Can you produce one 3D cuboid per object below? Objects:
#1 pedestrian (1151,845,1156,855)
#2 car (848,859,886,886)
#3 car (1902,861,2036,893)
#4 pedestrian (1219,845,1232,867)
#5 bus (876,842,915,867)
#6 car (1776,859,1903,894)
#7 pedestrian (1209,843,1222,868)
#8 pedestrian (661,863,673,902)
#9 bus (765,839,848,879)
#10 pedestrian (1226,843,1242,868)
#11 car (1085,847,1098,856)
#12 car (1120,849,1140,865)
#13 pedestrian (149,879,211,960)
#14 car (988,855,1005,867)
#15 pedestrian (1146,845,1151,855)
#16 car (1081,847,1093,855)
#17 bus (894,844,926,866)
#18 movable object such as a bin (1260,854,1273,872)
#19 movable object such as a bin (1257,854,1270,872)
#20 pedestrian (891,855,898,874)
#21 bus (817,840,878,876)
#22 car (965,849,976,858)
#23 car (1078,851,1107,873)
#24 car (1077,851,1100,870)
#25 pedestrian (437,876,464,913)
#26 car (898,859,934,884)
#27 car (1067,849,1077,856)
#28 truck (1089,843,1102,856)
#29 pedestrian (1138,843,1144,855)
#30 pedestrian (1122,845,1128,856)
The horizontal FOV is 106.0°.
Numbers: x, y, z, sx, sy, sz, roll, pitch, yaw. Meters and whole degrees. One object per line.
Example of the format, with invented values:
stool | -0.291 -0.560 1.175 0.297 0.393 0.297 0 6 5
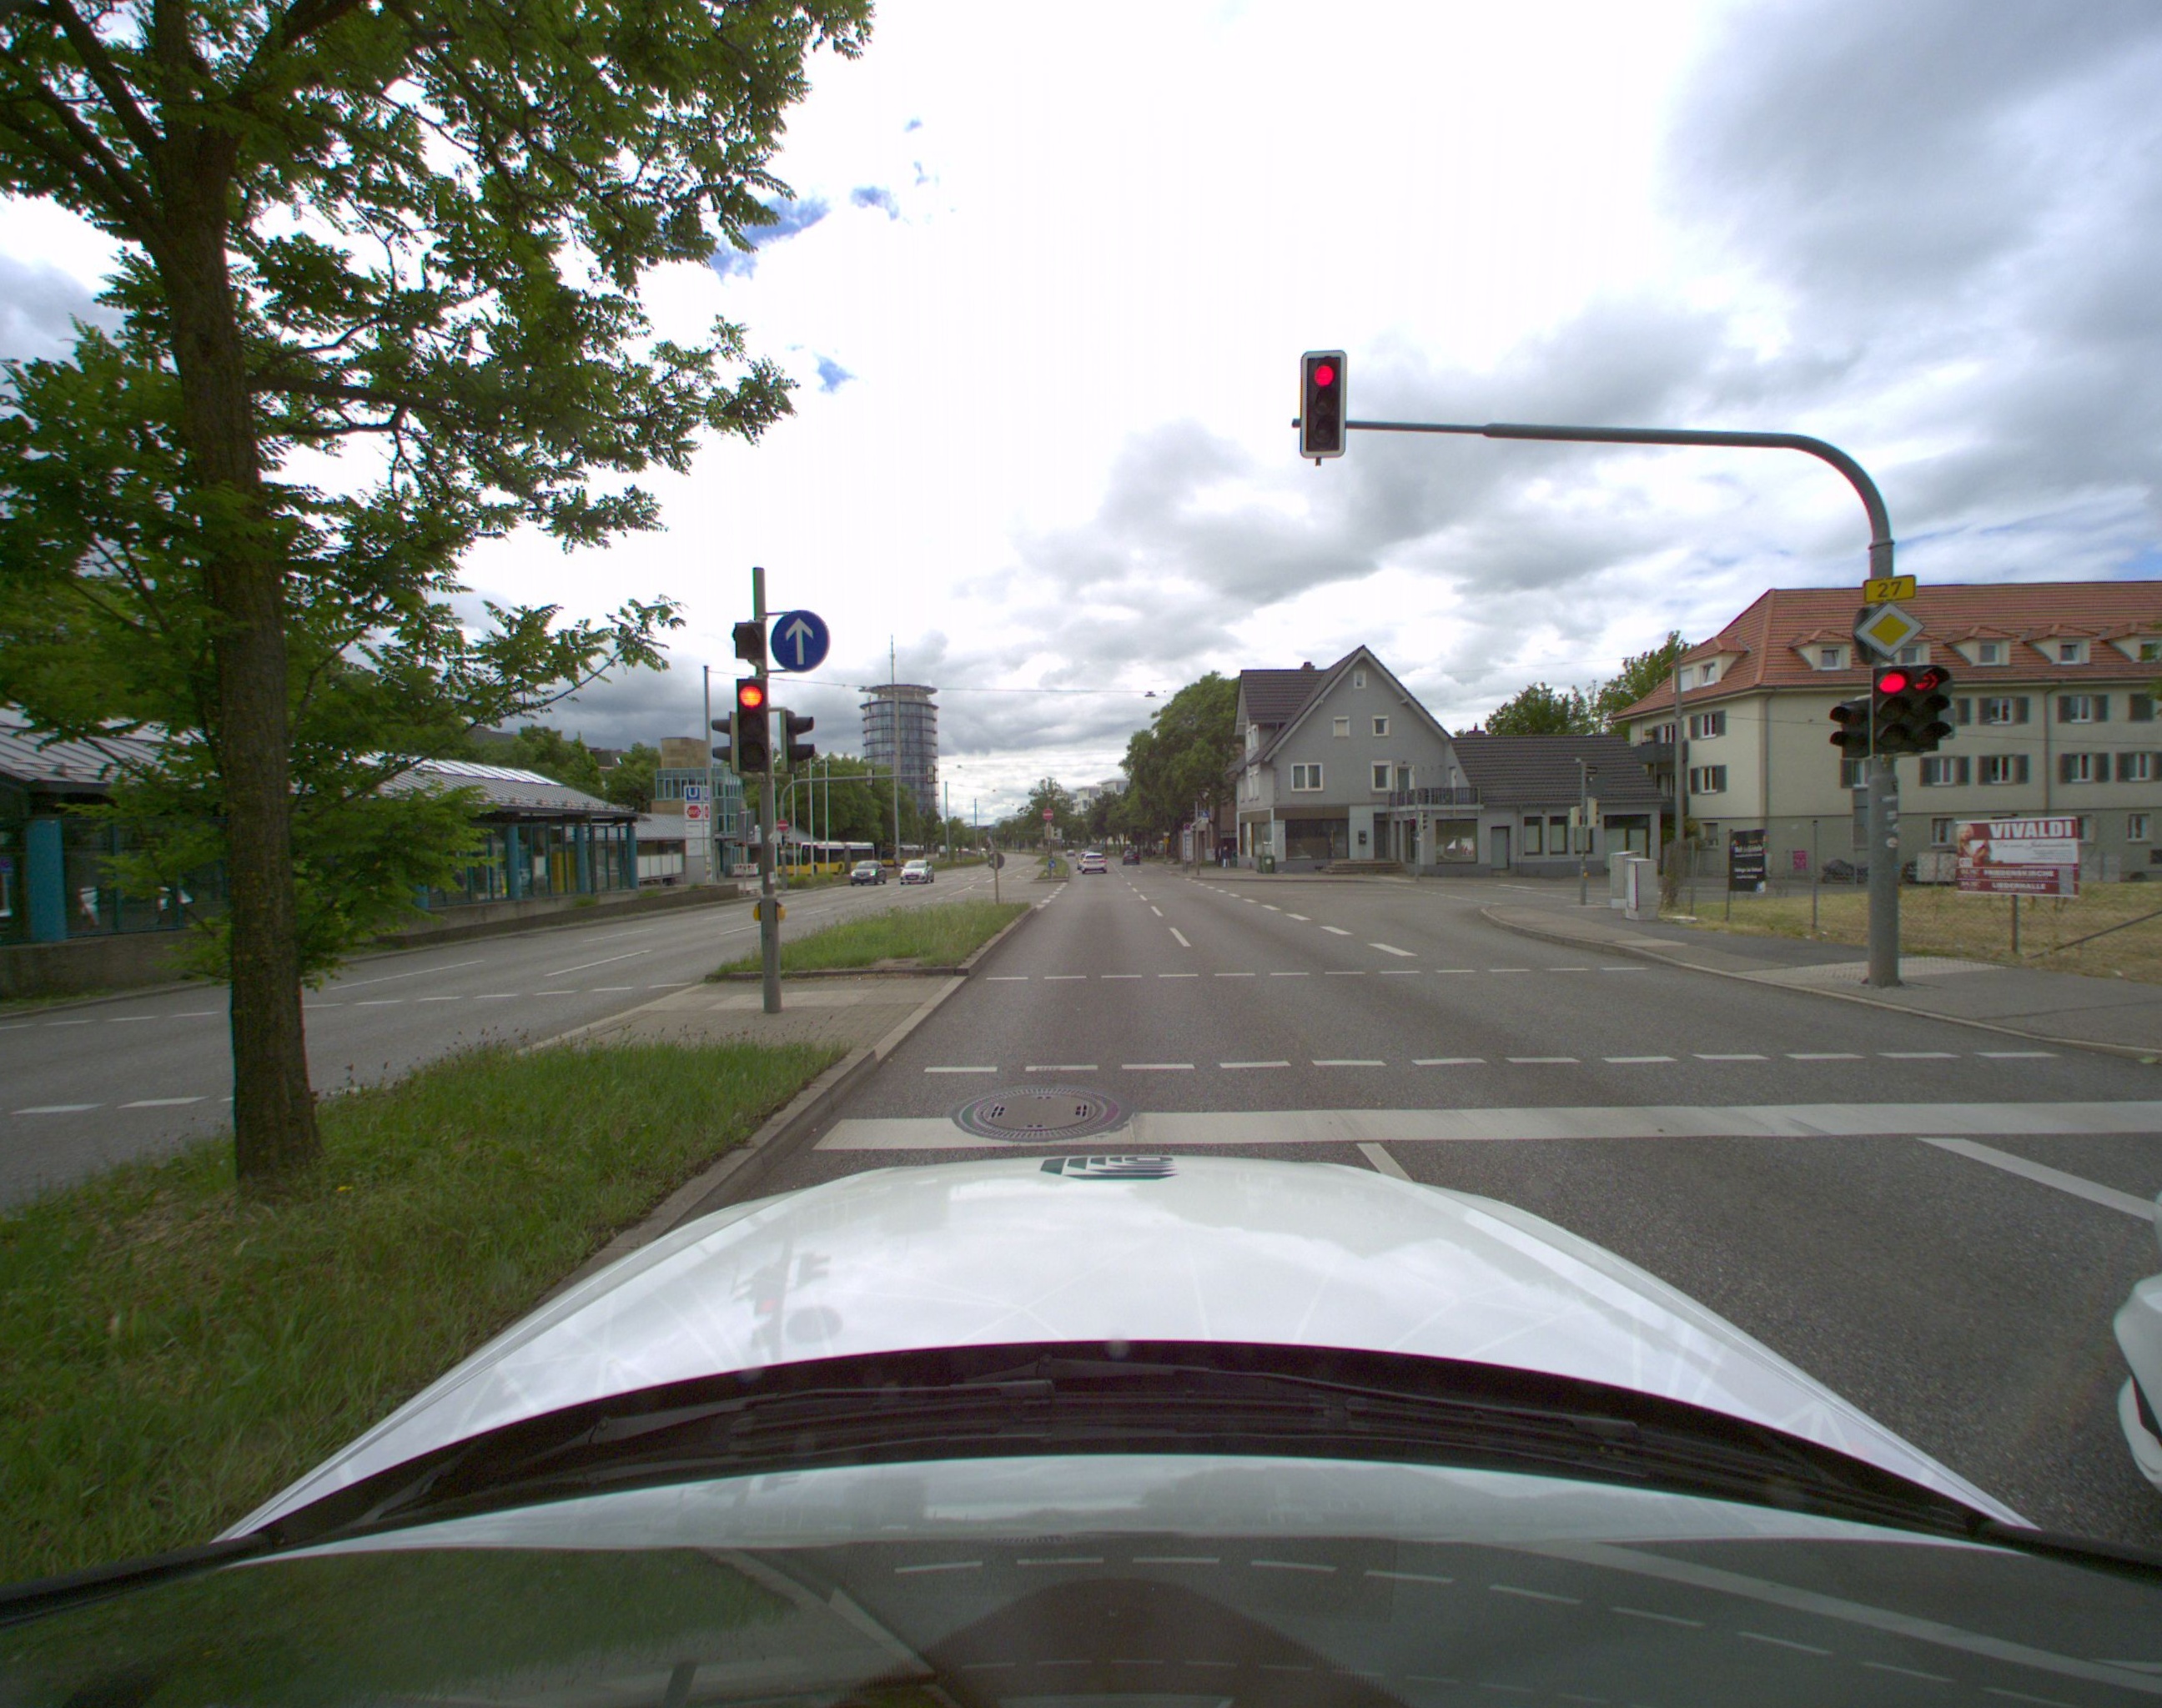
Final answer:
pedestrian | 11.775 -0.630 132.098 0.649 1.570 0.669 -2 0 -6
car | -13.493 1.150 51.534 1.681 1.578 3.344 -2 0 -4
car | 39.812 1.025 36.581 3.972 1.377 1.871 0 0 2
pedestrian | 10.266 0.148 57.776 0.699 1.507 0.875 -2 0 24
bus | -26.098 0.106 115.318 3.135 3.225 10.282 -2 0 0
car | 34.042 0.987 36.618 3.972 1.537 1.871 0 0 2
pedestrian | 9.685 0.115 58.513 0.699 1.780 0.875 -2 0 22
pedestrian | -17.261 1.173 33.975 0.420 1.591 0.353 -2 0 -28
bus | -24.325 0.408 72.868 2.975 3.250 10.186 -2 0 6
pedestrian | 11.327 0.108 60.145 0.871 1.780 0.702 -2 0 -24
car | 2.092 -0.459 165.286 2.246 1.757 4.928 -2 0 -3
car | 5.115 0.361 85.449 1.883 1.494 4.098 -3 -1 1
pedestrian | -20.532 1.476 18.569 0.528 1.762 0.755 -2 0 -4
car | -11.144 0.946 107.607 1.696 1.492 3.562 -2 0 1
pedestrian | 10.961 -0.601 132.209 0.649 1.570 0.669 -2 0 -6
car | 1.284 -0.542 174.108 2.246 1.647 4.927 -2 0 -3
bus | -26.040 0.133 124.327 3.134 3.225 7.765 -2 0 0
movable object such as a bin | 10.032 0.479 43.959 0.527 0.979 0.737 -2 0 2
movable object such as a bin | 10.038 0.481 44.750 0.527 0.979 0.737 -2 0 2
pedestrian | -19.002 1.073 83.033 0.661 1.897 0.683 -2 0 -12
bus | -23.353 0.376 81.868 2.975 3.270 7.889 -2 0 6
car | -27.265 -0.156 201.218 1.958 2.014 4.001 0 -1 2
car | 0.894 0.584 59.460 1.986 1.477 4.258 -2 0 2
car | 0.643 0.567 72.205 1.817 1.540 4.112 -2 0 -1
pedestrian | -27.286 1.756 35.266 0.630 1.571 0.663 -1 -1 11
car | -10.340 1.059 51.323 1.680 1.462 3.552 -2 0 -3
car | -1.916 -0.340 173.474 1.963 1.420 4.017 -2 0 -3
truck | 2.750 -0.804 156.672 2.246 2.416 4.928 -1 0 -3
pedestrian | 10.519 -0.847 141.965 0.967 2.014 0.981 0 -1 1
pedestrian | 9.171 -0.802 169.677 0.930 2.308 1.008 0 -1 -8
